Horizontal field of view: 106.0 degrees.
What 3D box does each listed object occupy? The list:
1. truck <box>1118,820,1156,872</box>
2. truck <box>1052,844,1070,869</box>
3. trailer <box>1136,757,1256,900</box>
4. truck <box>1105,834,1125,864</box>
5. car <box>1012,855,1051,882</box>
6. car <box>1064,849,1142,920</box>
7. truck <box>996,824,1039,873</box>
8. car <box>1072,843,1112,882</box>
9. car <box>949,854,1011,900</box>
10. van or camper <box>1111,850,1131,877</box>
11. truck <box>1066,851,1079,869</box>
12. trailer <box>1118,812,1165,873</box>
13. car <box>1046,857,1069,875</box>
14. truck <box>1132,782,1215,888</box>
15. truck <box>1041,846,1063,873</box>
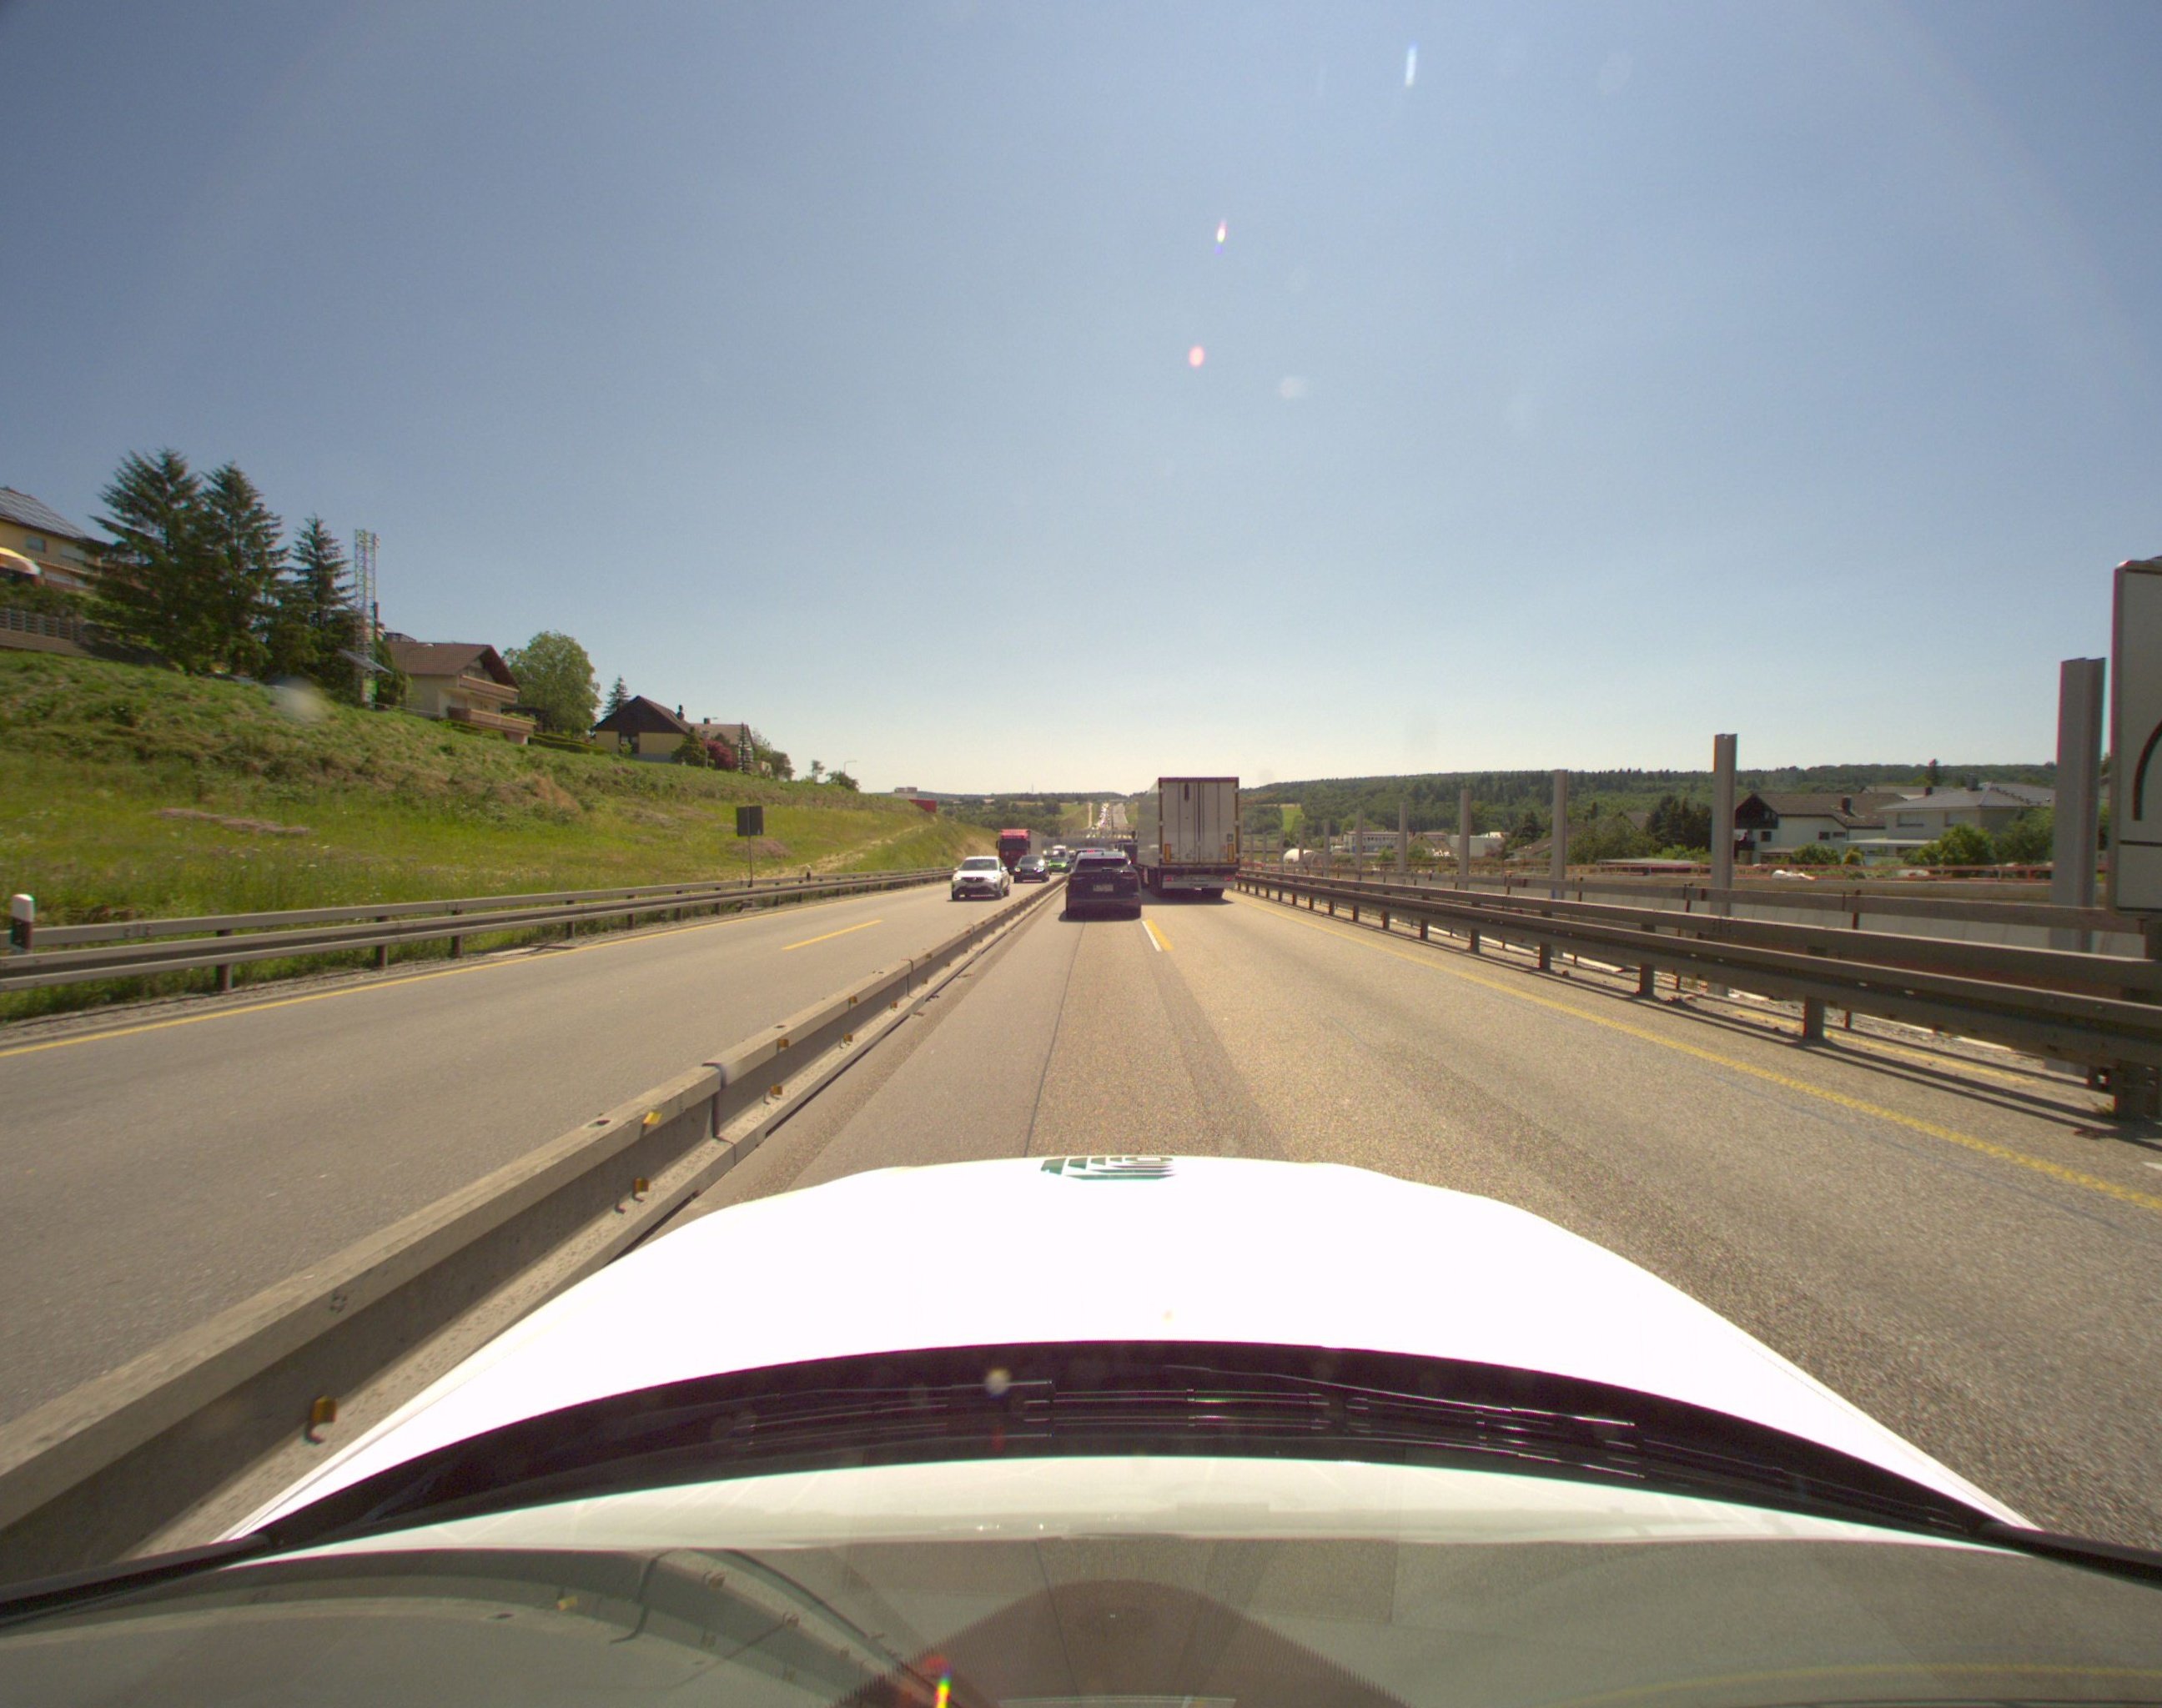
[{"bbox_3d":[5.108,-0.608,76.143,3.169,4.513,8.166,0,-1,1],"label":"truck"},{"bbox_3d":[-3.611,0.529,148.647,2.842,4.338,11.917,0,-1,1],"label":"truck"},{"bbox_3d":[4.083,-0.818,32.295,3.169,4.513,13.111,0,0,1],"label":"trailer"},{"bbox_3d":[5.420,-0.736,130.587,2.842,4.465,11.917,0,-1,1],"label":"truck"},{"bbox_3d":[-2.913,0.845,48.717,1.987,1.530,4.000,-1,0,1],"label":"car"},{"bbox_3d":[0.573,0.732,20.766,1.795,1.607,4.001,-1,-1,2],"label":"car"},{"bbox_3d":[-5.690,-0.335,74.698,2.842,4.140,11.917,0,-1,1],"label":"truck"},{"bbox_3d":[0.578,0.475,42.647,1.986,1.926,4.508,0,-1,1],"label":"car"},{"bbox_3d":[-3.589,0.781,29.661,1.787,1.518,3.997,-1,0,-1],"label":"car"},{"bbox_3d":[5.067,1.205,101.856,2.378,3.281,6.474,-1,-2,3],"label":"van or camper"},{"bbox_3d":[-2.053,1.477,206.841,2.842,4.338,11.917,0,-1,1],"label":"truck"},{"bbox_3d":[4.937,-0.708,68.983,3.169,4.513,14.968,0,-1,1],"label":"trailer"},{"bbox_3d":[-2.050,1.045,71.121,1.855,1.476,4.000,0,0,1],"label":"car"},{"bbox_3d":[4.219,-0.824,38.999,3.169,4.513,8.167,0,0,1],"label":"truck"},{"bbox_3d":[-4.346,0.951,123.962,2.842,3.783,11.917,0,-1,1],"label":"truck"}]
